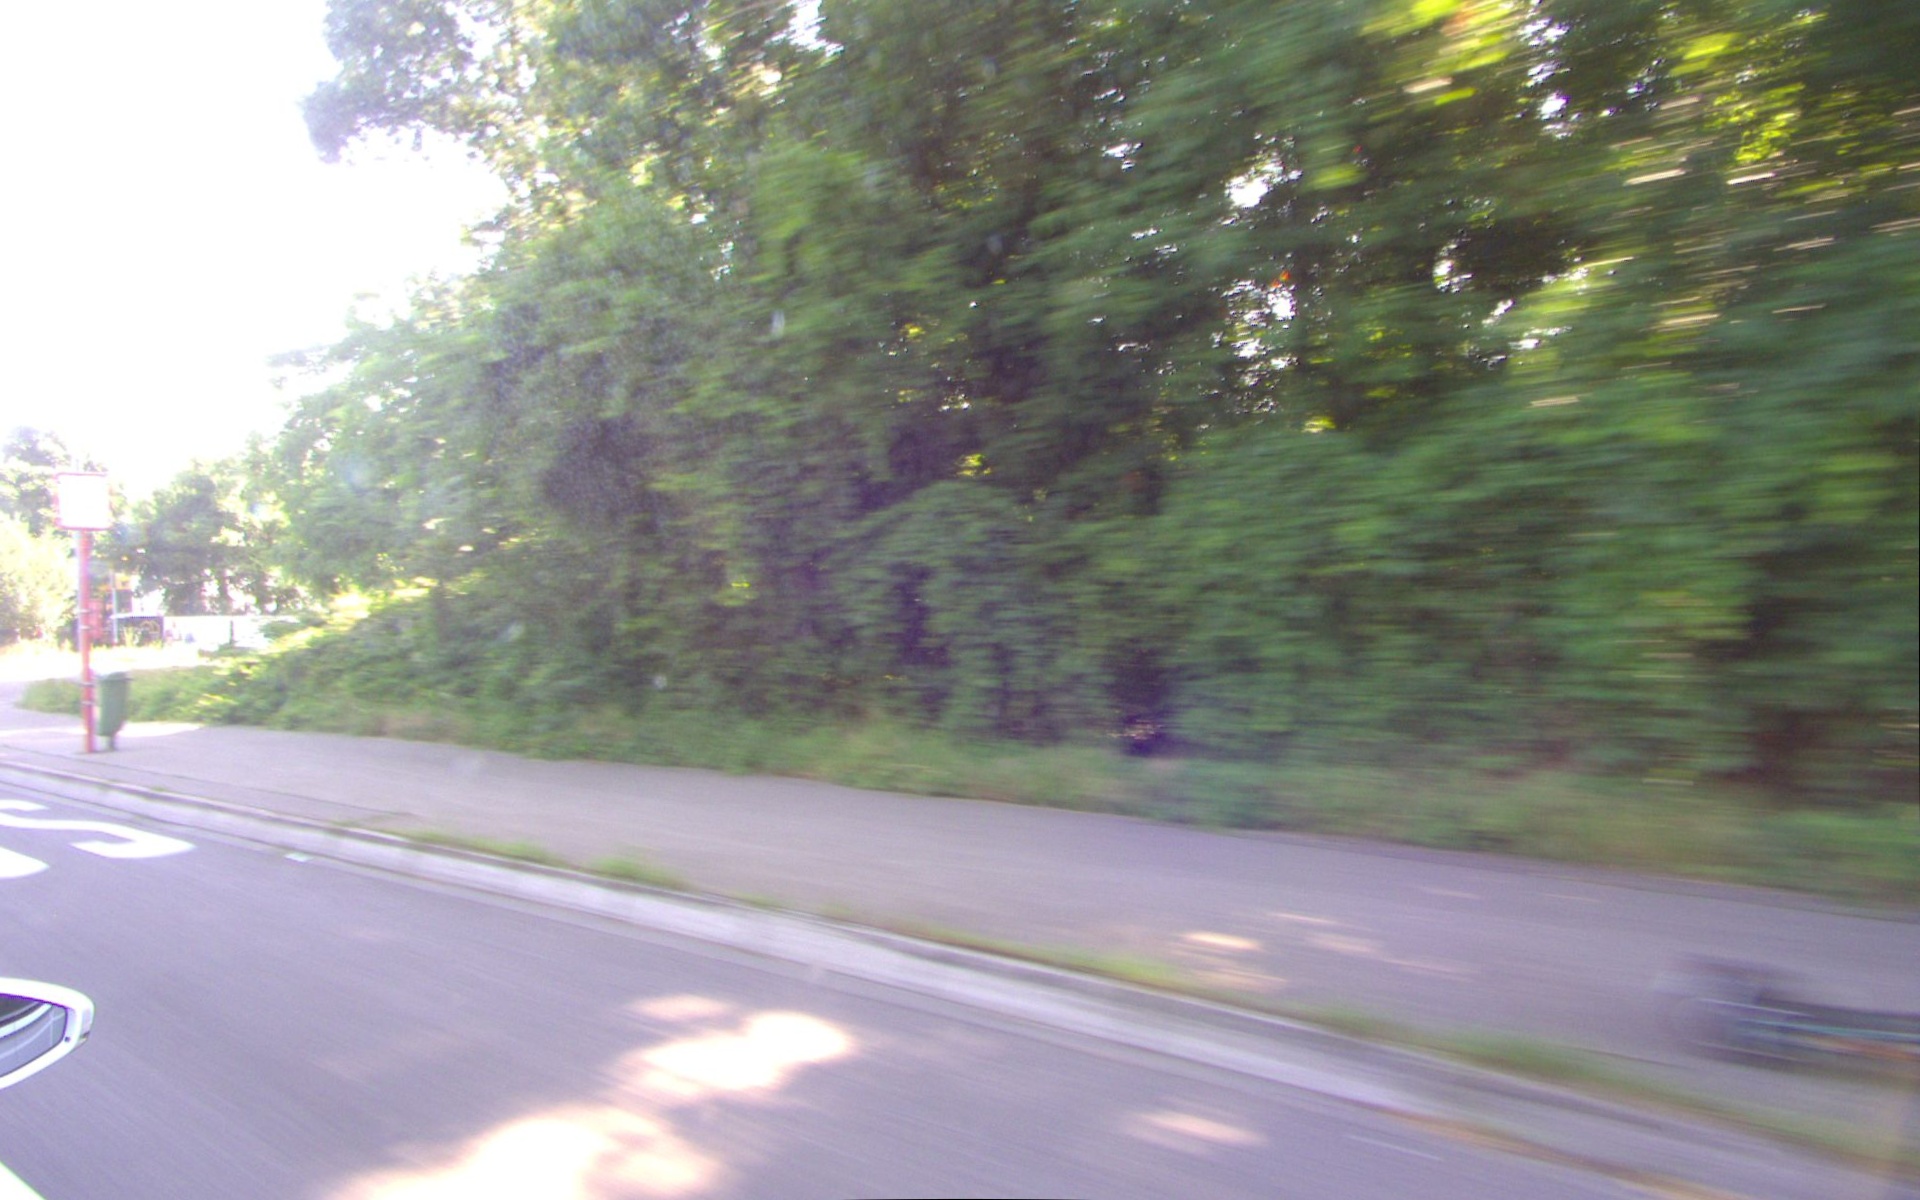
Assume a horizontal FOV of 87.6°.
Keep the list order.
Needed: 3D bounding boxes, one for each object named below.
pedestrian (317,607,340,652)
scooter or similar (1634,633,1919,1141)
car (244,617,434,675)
[{"bbox_3d":[-23.362,1.096,37.046,0.603,1.651,0.411,-2,1,-43],"label":"pedestrian"},{"bbox_3d":[2.697,0.759,2.778,1.306,1.324,0.400,-1,1,18],"label":"scooter or similar"},{"bbox_3d":[-16.927,1.248,27.330,4.528,1.483,1.627,-1,0,12],"label":"car"}]
